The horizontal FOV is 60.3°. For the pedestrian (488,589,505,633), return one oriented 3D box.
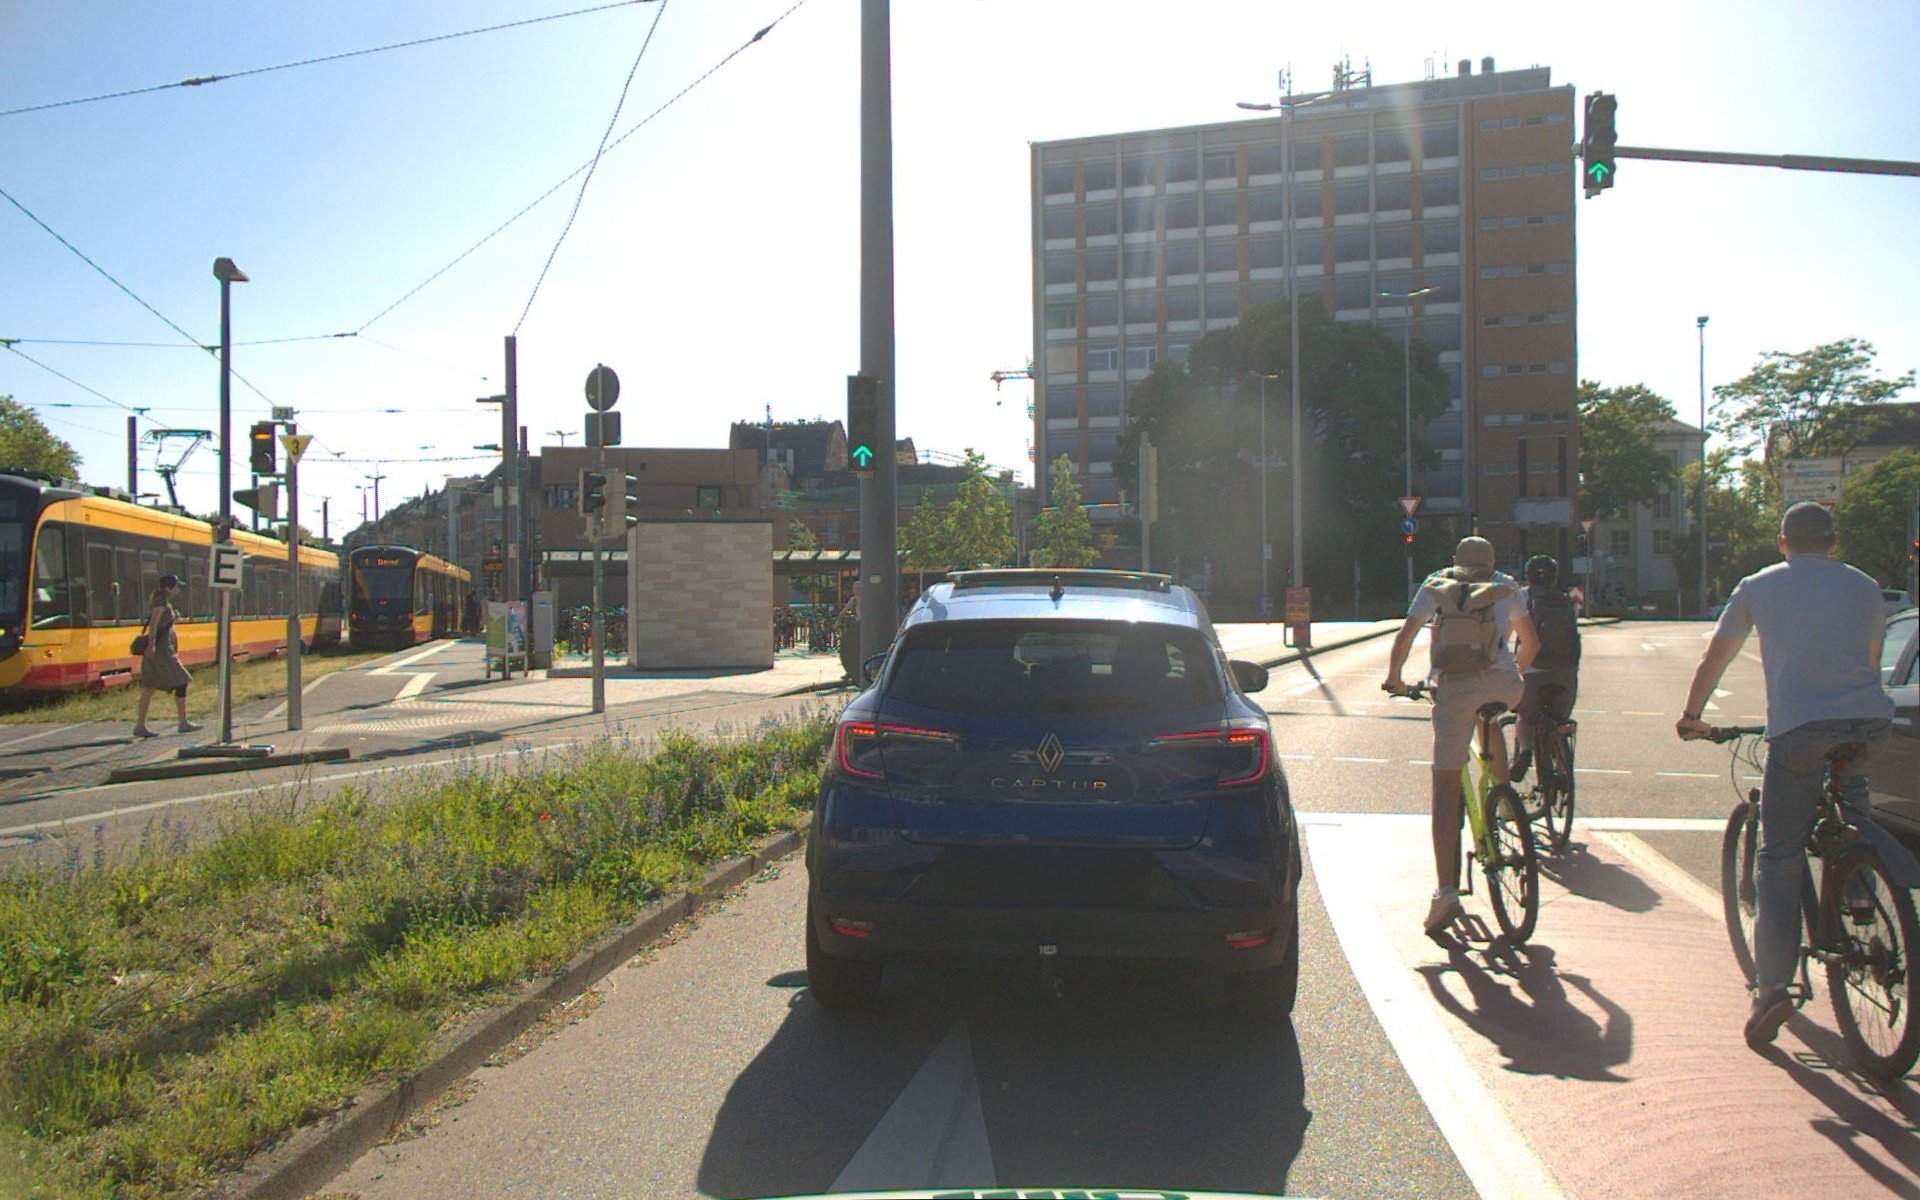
[{"bbox_3d":[-19.824,0.467,70.783,0.621,1.889,0.701,1,-1,-11],"label":"pedestrian"}]

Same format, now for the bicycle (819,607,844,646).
[{"bbox_3d":[-3.786,0.784,48.695,0.570,1.107,2.054,1,-1,-9],"label":"bicycle"}]

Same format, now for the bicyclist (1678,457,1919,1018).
[{"bbox_3d":[3.037,0.443,5.869,0.733,1.807,1.015,0,0,14],"label":"bicyclist"}]

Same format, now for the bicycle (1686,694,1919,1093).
[{"bbox_3d":[3.072,0.935,5.872,0.598,1.096,1.831,0,0,14],"label":"bicycle"}]

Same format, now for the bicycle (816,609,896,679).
[{"bbox_3d":[-1.725,0.720,27.773,0.756,1.099,2.037,-1,-1,13],"label":"bicycle"}]

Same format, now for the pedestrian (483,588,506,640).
[{"bbox_3d":[-17.397,0.515,61.821,0.833,1.916,0.757,1,-1,-16],"label":"pedestrian"}]

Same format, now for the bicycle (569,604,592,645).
[{"bbox_3d":[-10.487,0.672,45.737,0.556,1.112,2.023,1,-1,-11],"label":"bicycle"}]

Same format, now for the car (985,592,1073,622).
[{"bbox_3d":[3.615,0.383,86.905,4.326,1.548,1.961,-1,-2,38],"label":"car"}]

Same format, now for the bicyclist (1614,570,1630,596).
[{"bbox_3d":[37.741,-0.971,94.343,0.609,1.469,0.815,-1,0,40],"label":"bicyclist"}]

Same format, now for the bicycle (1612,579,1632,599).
[{"bbox_3d":[37.799,-0.623,94.430,0.599,1.112,1.663,-1,0,40],"label":"bicycle"}]

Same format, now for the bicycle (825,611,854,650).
[{"bbox_3d":[-3.137,0.793,43.062,0.570,0.978,2.054,1,-1,-9],"label":"bicycle"}]

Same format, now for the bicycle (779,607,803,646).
[{"bbox_3d":[-4.970,0.775,48.606,0.570,1.107,2.054,1,-1,-9],"label":"bicycle"}]

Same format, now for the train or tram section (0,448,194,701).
[{"bbox_3d":[-15.576,-0.340,28.133,2.771,3.569,10.437,-1,0,-15],"label":"train or tram section"}]

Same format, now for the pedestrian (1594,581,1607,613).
[{"bbox_3d":[33.877,-0.154,87.535,0.547,1.699,0.474,-1,-2,36],"label":"pedestrian"}]

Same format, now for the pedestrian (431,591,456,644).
[{"bbox_3d":[-18.864,0.645,60.453,0.833,1.916,0.757,1,-1,-16],"label":"pedestrian"}]

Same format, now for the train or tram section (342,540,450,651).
[{"bbox_3d":[-19.871,-0.134,58.825,2.823,3.569,10.502,0,0,-14],"label":"train or tram section"}]

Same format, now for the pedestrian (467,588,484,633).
[{"bbox_3d":[-20.588,0.440,70.246,0.623,1.889,0.699,1,-1,-20],"label":"pedestrian"}]

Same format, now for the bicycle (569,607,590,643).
[{"bbox_3d":[-11.952,0.786,52.022,0.556,1.112,2.023,1,-1,-11],"label":"bicycle"}]

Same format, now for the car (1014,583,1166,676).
[{"bbox_3d":[2.458,0.496,30.283,1.762,1.417,4.095,-1,2,20],"label":"car"}]

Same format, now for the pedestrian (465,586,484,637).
[{"bbox_3d":[-18.272,0.448,62.229,0.593,1.889,0.792,1,-1,-12],"label":"pedestrian"}]

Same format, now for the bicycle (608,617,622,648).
[{"bbox_3d":[-10.952,1.026,52.469,0.414,0.954,1.375,1,0,-12],"label":"bicycle"}]

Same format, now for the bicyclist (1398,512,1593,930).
[{"bbox_3d":[2.420,0.514,7.572,0.649,1.778,1.006,0,0,6],"label":"bicyclist"}]

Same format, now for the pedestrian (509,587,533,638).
[{"bbox_3d":[-16.626,0.476,62.613,0.833,1.916,0.757,1,-1,-16],"label":"pedestrian"}]

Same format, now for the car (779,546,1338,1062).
[{"bbox_3d":[0.464,0.643,7.170,1.785,1.628,3.661,1,0,5],"label":"car"}]

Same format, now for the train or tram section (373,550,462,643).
[{"bbox_3d":[-22.483,-0.114,69.046,2.823,3.569,10.502,0,0,-14],"label":"train or tram section"}]

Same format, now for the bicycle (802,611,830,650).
[{"bbox_3d":[-3.736,0.788,42.965,0.570,0.978,2.054,1,-1,-9],"label":"bicycle"}]

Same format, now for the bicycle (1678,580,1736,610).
[{"bbox_3d":[39.563,-0.256,87.619,2.746,1.568,0.883,0,-1,25],"label":"bicycle"}]

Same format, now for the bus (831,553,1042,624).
[{"bbox_3d":[-1.405,-0.505,86.700,12.212,3.455,2.868,-1,-2,40],"label":"bus"}]

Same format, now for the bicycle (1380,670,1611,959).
[{"bbox_3d":[2.429,0.914,7.707,0.648,1.065,1.892,0,1,6],"label":"bicycle"}]

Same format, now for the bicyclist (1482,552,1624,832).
[{"bbox_3d":[3.693,0.538,10.367,0.706,1.654,1.056,1,0,13],"label":"bicyclist"}]

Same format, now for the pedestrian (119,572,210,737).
[{"bbox_3d":[-9.374,0.619,19.519,0.887,1.882,0.759,-1,2,-22],"label":"pedestrian"}]

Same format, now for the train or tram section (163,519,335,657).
[{"bbox_3d":[-20.635,-0.295,48.716,2.768,3.569,11.170,0,0,-14],"label":"train or tram section"}]

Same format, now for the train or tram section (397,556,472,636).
[{"bbox_3d":[-25.042,-0.173,79.245,2.823,3.569,10.502,0,0,-14],"label":"train or tram section"}]

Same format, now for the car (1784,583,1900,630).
[{"bbox_3d":[39.813,0.319,74.703,4.564,2.049,1.996,0,-1,30],"label":"car"}]

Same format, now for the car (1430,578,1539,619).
[{"bbox_3d":[23.100,-0.073,72.904,4.156,1.596,1.821,-3,0,-8],"label":"car"}]

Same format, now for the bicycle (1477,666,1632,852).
[{"bbox_3d":[3.739,0.958,10.531,0.707,0.976,1.885,1,0,13],"label":"bicycle"}]

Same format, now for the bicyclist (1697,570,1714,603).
[{"bbox_3d":[39.500,-0.734,87.659,0.841,1.721,0.884,0,-1,24],"label":"bicyclist"}]

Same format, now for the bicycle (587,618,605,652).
[{"bbox_3d":[-10.446,1.009,47.455,0.415,0.954,1.300,1,0,-15],"label":"bicycle"}]

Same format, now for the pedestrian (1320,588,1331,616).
[{"bbox_3d":[21.876,0.128,99.021,0.551,1.699,0.474,-1,-2,36],"label":"pedestrian"}]

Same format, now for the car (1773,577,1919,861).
[{"bbox_3d":[6.292,0.691,9.715,1.718,1.568,3.662,2,0,10],"label":"car"}]

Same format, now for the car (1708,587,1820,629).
[{"bbox_3d":[38.405,0.386,79.055,4.572,1.933,1.992,0,-1,36],"label":"car"}]

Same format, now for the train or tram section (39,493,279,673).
[{"bbox_3d":[-18.106,-0.320,38.218,2.768,3.569,10.573,0,0,-14],"label":"train or tram section"}]

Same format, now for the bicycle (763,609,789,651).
[{"bbox_3d":[-4.731,0.774,42.575,0.570,1.076,1.812,1,-1,-9],"label":"bicycle"}]

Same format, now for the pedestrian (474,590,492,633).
[{"bbox_3d":[-21.017,0.500,72.852,0.688,1.889,0.632,1,-1,-12],"label":"pedestrian"}]

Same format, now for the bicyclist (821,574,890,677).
[{"bbox_3d":[-1.744,0.424,27.794,0.861,1.673,1.061,-1,-1,13],"label":"bicyclist"}]

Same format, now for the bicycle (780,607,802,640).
[{"bbox_3d":[-5.743,0.793,56.068,0.570,1.107,1.866,1,-1,-11],"label":"bicycle"}]
